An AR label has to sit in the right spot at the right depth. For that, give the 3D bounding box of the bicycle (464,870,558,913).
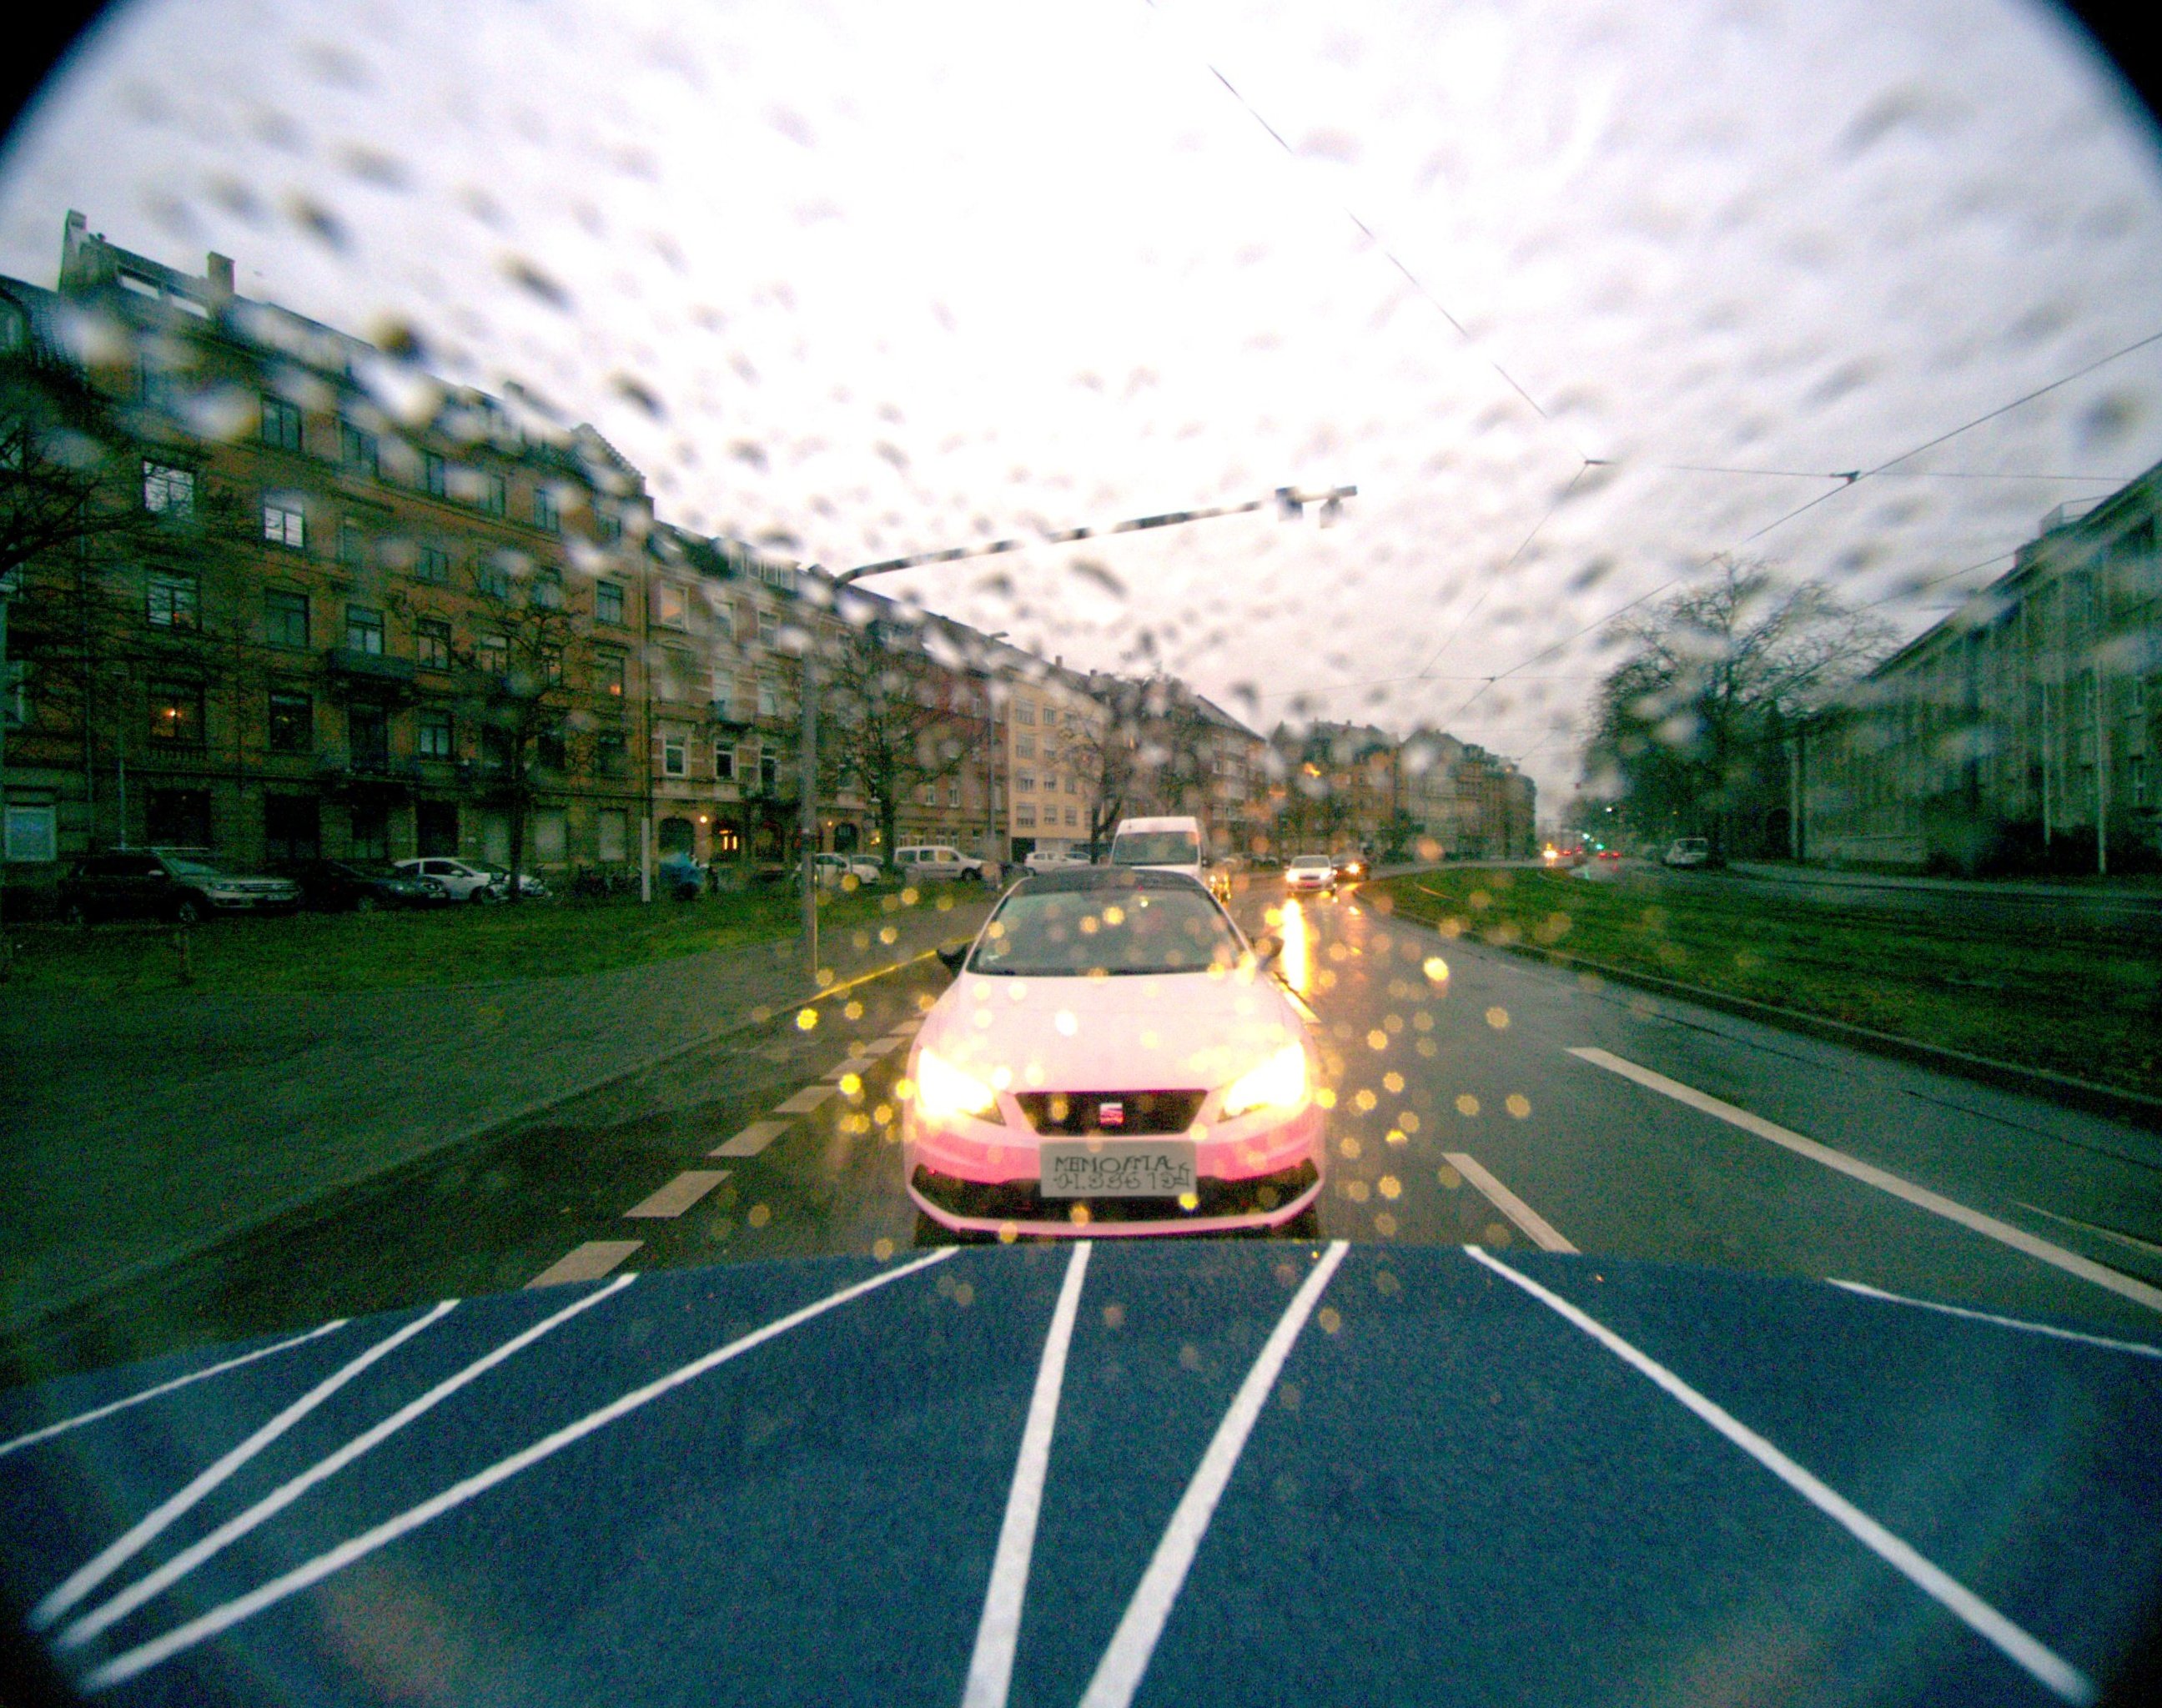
[{"bbox_3d":[-14.577,0.940,19.483,1.911,1.013,0.535,0,1,-36],"label":"bicycle"}]

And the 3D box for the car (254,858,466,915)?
[{"bbox_3d":[-17.814,0.771,18.877,3.684,1.298,1.742,-1,0,4],"label":"car"}]

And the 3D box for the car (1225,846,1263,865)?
[{"bbox_3d":[14.346,0.098,66.772,3.181,1.615,1.447,-1,0,13],"label":"car"}]

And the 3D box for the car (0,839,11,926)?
[{"bbox_3d":[-29.178,0.751,17.783,1.994,2.176,4.670,-1,0,33],"label":"car"}]

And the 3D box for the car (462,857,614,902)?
[{"bbox_3d":[-16.780,0.766,23.571,3.684,1.298,1.521,-1,0,4],"label":"car"}]

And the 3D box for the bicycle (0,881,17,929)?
[{"bbox_3d":[-22.180,0.991,15.113,1.792,0.926,0.446,1,1,10],"label":"bicycle"}]

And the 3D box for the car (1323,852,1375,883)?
[{"bbox_3d":[14.198,0.697,40.165,1.836,1.524,3.824,-1,0,31],"label":"car"}]

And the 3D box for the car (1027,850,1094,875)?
[{"bbox_3d":[-1.160,0.459,43.621,3.609,1.362,1.619,-1,0,9],"label":"car"}]

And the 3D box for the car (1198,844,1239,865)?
[{"bbox_3d":[11.260,0.057,62.105,3.181,1.615,1.429,-1,0,13],"label":"car"}]

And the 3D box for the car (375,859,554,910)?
[{"bbox_3d":[-17.046,0.818,21.113,3.684,1.298,1.669,-1,0,4],"label":"car"}]

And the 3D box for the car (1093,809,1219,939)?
[{"bbox_3d":[1.923,0.382,17.349,2.239,2.448,5.674,-1,0,12],"label":"car"}]

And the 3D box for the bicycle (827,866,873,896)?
[{"bbox_3d":[-7.919,0.916,25.989,1.790,0.926,0.447,2,1,33],"label":"bicycle"}]

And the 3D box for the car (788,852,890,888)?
[{"bbox_3d":[-10.031,0.650,31.629,3.684,1.391,1.522,-1,0,5],"label":"car"}]

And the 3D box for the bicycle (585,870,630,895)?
[{"bbox_3d":[-15.909,0.942,25.516,1.790,0.773,0.447,1,1,28],"label":"bicycle"}]

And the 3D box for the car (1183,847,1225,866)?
[{"bbox_3d":[9.683,0.219,59.715,3.181,1.420,1.429,-1,0,13],"label":"car"}]

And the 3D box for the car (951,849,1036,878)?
[{"bbox_3d":[-4.416,0.476,38.712,3.958,1.436,1.703,-1,0,10],"label":"car"}]

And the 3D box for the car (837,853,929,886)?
[{"bbox_3d":[-8.866,0.674,34.118,3.684,1.428,1.522,-1,0,5],"label":"car"}]

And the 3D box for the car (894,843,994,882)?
[{"bbox_3d":[-6.528,0.400,36.465,4.341,1.757,1.782,-1,0,4],"label":"car"}]

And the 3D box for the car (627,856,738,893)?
[{"bbox_3d":[-14.752,0.759,28.204,3.297,1.298,1.522,-1,0,5],"label":"car"}]

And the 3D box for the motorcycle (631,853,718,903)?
[{"bbox_3d":[-12.072,0.698,22.569,2.352,1.338,0.886,2,2,19],"label":"motorcycle"}]

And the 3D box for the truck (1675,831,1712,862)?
[{"bbox_3d":[41.591,-0.500,51.627,1.833,2.032,4.008,0,0,37],"label":"truck"}]

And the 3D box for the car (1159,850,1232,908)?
[{"bbox_3d":[3.818,0.739,24.726,1.874,1.679,4.175,-1,0,15],"label":"car"}]

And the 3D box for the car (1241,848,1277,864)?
[{"bbox_3d":[16.218,0.210,69.135,3.181,1.405,1.383,-1,0,14],"label":"car"}]

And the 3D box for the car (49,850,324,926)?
[{"bbox_3d":[-19.543,0.716,16.721,4.152,1.560,1.742,-1,0,4],"label":"car"}]

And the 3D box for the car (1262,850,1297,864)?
[{"bbox_3d":[18.871,0.270,72.152,3.181,1.276,1.383,-1,0,14],"label":"car"}]

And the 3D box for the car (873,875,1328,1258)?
[{"bbox_3d":[0.137,0.928,5.194,1.787,1.370,4.223,-2,0,2],"label":"car"}]

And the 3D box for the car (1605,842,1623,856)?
[{"bbox_3d":[64.969,-0.582,92.680,1.686,1.630,3.654,0,0,34],"label":"car"}]

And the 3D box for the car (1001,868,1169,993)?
[{"bbox_3d":[0.249,0.968,11.053,1.722,1.380,3.825,-1,0,11],"label":"car"}]

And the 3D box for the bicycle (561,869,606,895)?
[{"bbox_3d":[-16.410,0.915,25.032,1.790,0.790,0.447,1,1,28],"label":"bicycle"}]

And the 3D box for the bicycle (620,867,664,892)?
[{"bbox_3d":[-15.389,0.894,26.609,1.791,0.813,0.395,1,1,25],"label":"bicycle"}]

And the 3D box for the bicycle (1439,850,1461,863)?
[{"bbox_3d":[47.565,0.329,97.833,2.446,1.697,0.847,-2,1,30],"label":"bicycle"}]

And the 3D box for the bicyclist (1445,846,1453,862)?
[{"bbox_3d":[47.415,0.043,97.911,0.777,2.002,0.831,-2,1,29],"label":"bicyclist"}]

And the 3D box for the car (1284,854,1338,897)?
[{"bbox_3d":[8.424,0.748,27.631,1.687,1.422,3.351,-1,0,19],"label":"car"}]

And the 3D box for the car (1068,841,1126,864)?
[{"bbox_3d":[1.036,-0.101,48.387,3.611,1.362,1.618,-1,0,3],"label":"car"}]

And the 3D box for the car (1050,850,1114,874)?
[{"bbox_3d":[0.072,0.471,45.891,3.609,1.362,1.619,-1,0,9],"label":"car"}]
